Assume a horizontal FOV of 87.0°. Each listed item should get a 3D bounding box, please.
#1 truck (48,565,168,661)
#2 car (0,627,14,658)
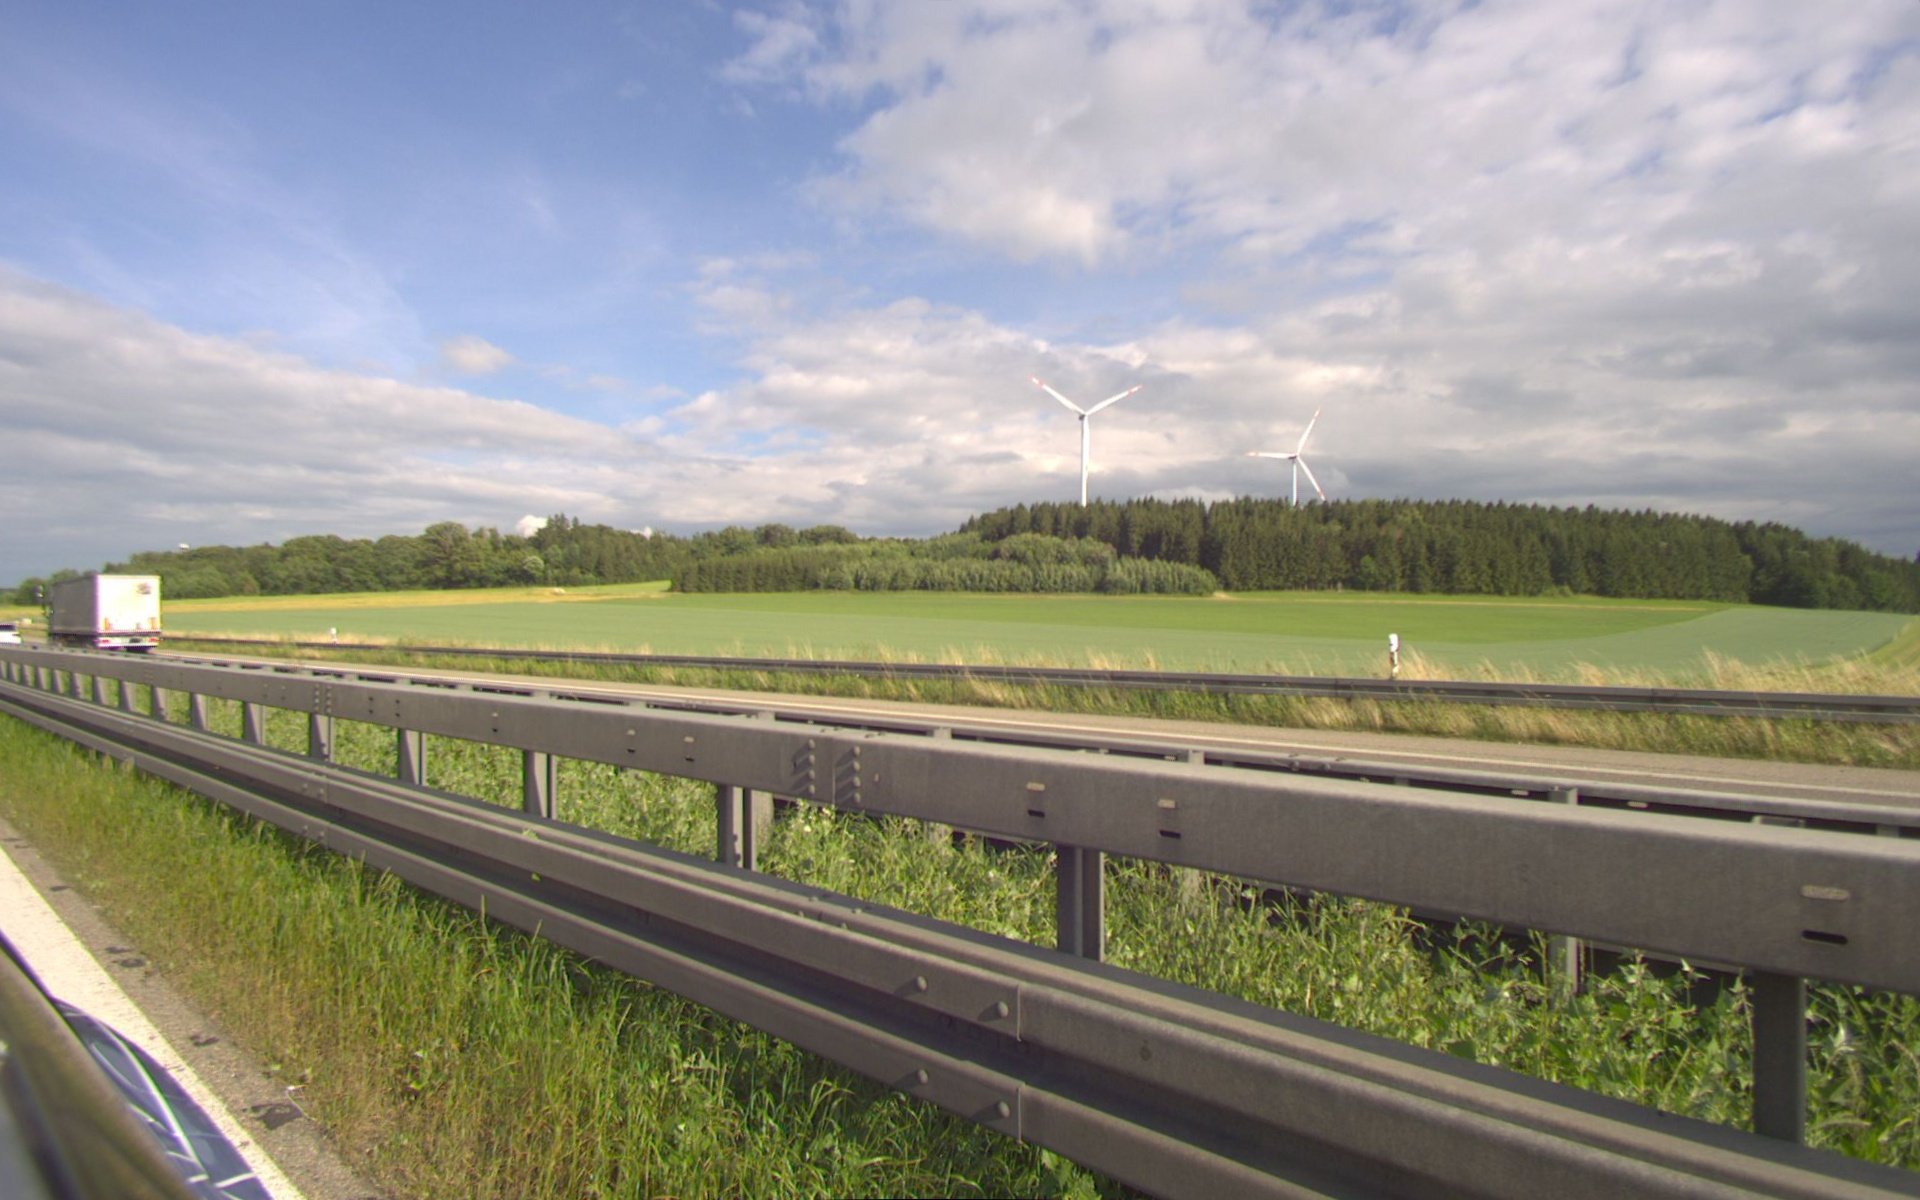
[{"bbox_3d":[-46.002,0.685,54.400,13.416,4.669,2.850,-1,0,41],"label":"truck"},{"bbox_3d":[-50.948,2.227,52.970,3.998,1.502,1.686,-1,0,41],"label":"car"}]
